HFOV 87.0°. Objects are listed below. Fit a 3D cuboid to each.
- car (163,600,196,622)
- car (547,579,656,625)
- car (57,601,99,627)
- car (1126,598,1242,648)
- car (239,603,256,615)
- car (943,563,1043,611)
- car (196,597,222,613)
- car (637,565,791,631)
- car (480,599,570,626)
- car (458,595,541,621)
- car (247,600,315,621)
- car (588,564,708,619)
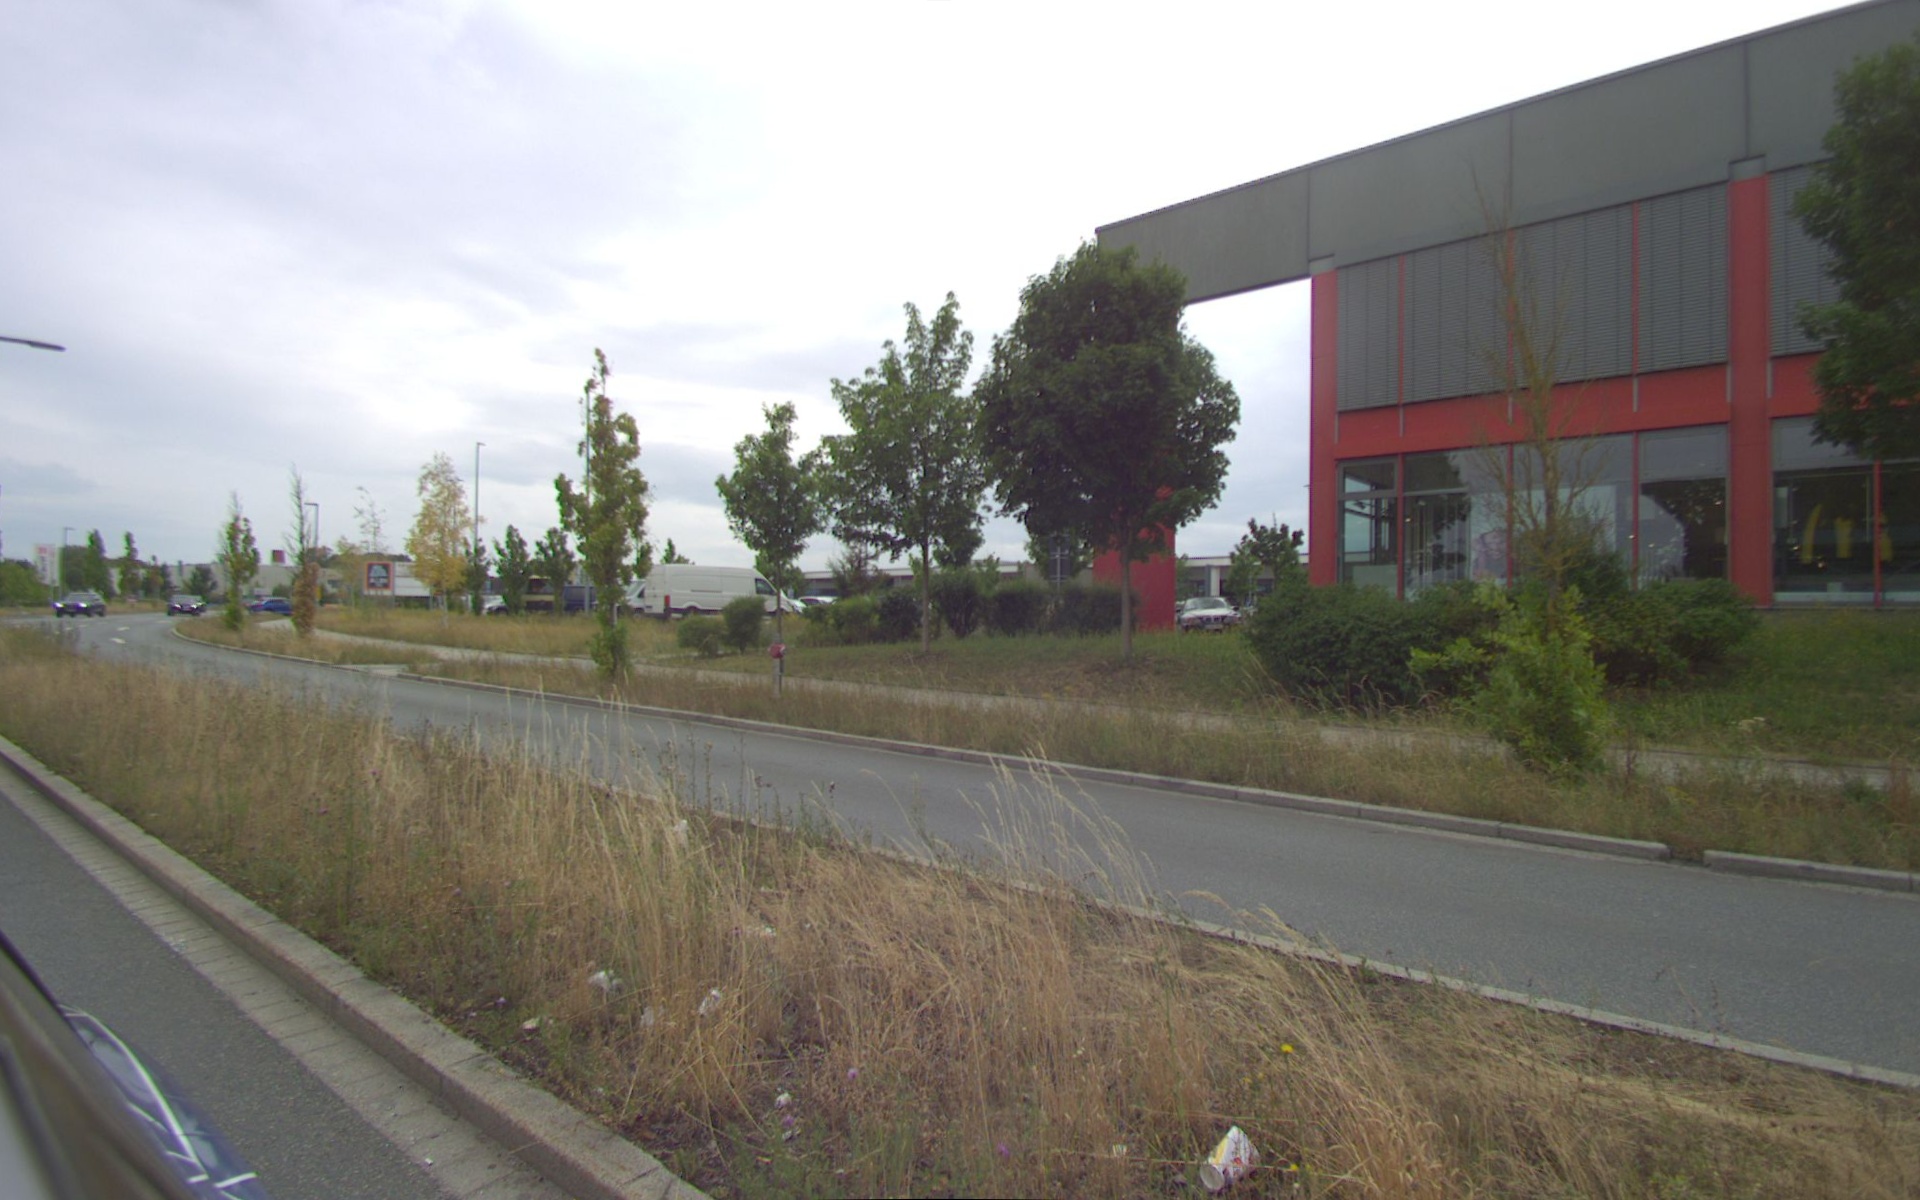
[{"bbox_3d":[-60.035,0.829,77.842,1.968,1.586,4.008,0,1,-39],"label":"car"},{"bbox_3d":[-18.857,0.146,53.381,4.980,2.240,2.067,2,-2,-43],"label":"car"},{"bbox_3d":[-59.723,0.921,68.590,1.968,1.586,4.008,0,1,-39],"label":"car"},{"bbox_3d":[6.122,0.599,27.778,2.860,1.279,1.245,1,1,42],"label":"car"},{"bbox_3d":[-96.872,1.238,137.583,1.707,1.504,4.008,2,-2,-38],"label":"car"},{"bbox_3d":[1.718,-0.696,53.750,5.048,2.390,2.039,1,1,37],"label":"car"},{"bbox_3d":[-74.832,0.482,100.808,1.968,1.586,4.008,0,1,-39],"label":"car"},{"bbox_3d":[-10.505,-0.101,43.706,2.065,2.643,6.327,1,1,44],"label":"car"},{"bbox_3d":[-28.239,0.815,65.741,4.977,1.669,2.068,2,-2,-40],"label":"car"},{"bbox_3d":[-32.614,0.583,71.773,4.977,1.669,2.068,2,-2,-40],"label":"car"},{"bbox_3d":[-51.157,0.831,76.311,1.727,1.524,3.960,0,-1,29],"label":"car"},{"bbox_3d":[-14.389,-0.385,46.922,2.063,2.390,4.989,1,1,40],"label":"car"}]
